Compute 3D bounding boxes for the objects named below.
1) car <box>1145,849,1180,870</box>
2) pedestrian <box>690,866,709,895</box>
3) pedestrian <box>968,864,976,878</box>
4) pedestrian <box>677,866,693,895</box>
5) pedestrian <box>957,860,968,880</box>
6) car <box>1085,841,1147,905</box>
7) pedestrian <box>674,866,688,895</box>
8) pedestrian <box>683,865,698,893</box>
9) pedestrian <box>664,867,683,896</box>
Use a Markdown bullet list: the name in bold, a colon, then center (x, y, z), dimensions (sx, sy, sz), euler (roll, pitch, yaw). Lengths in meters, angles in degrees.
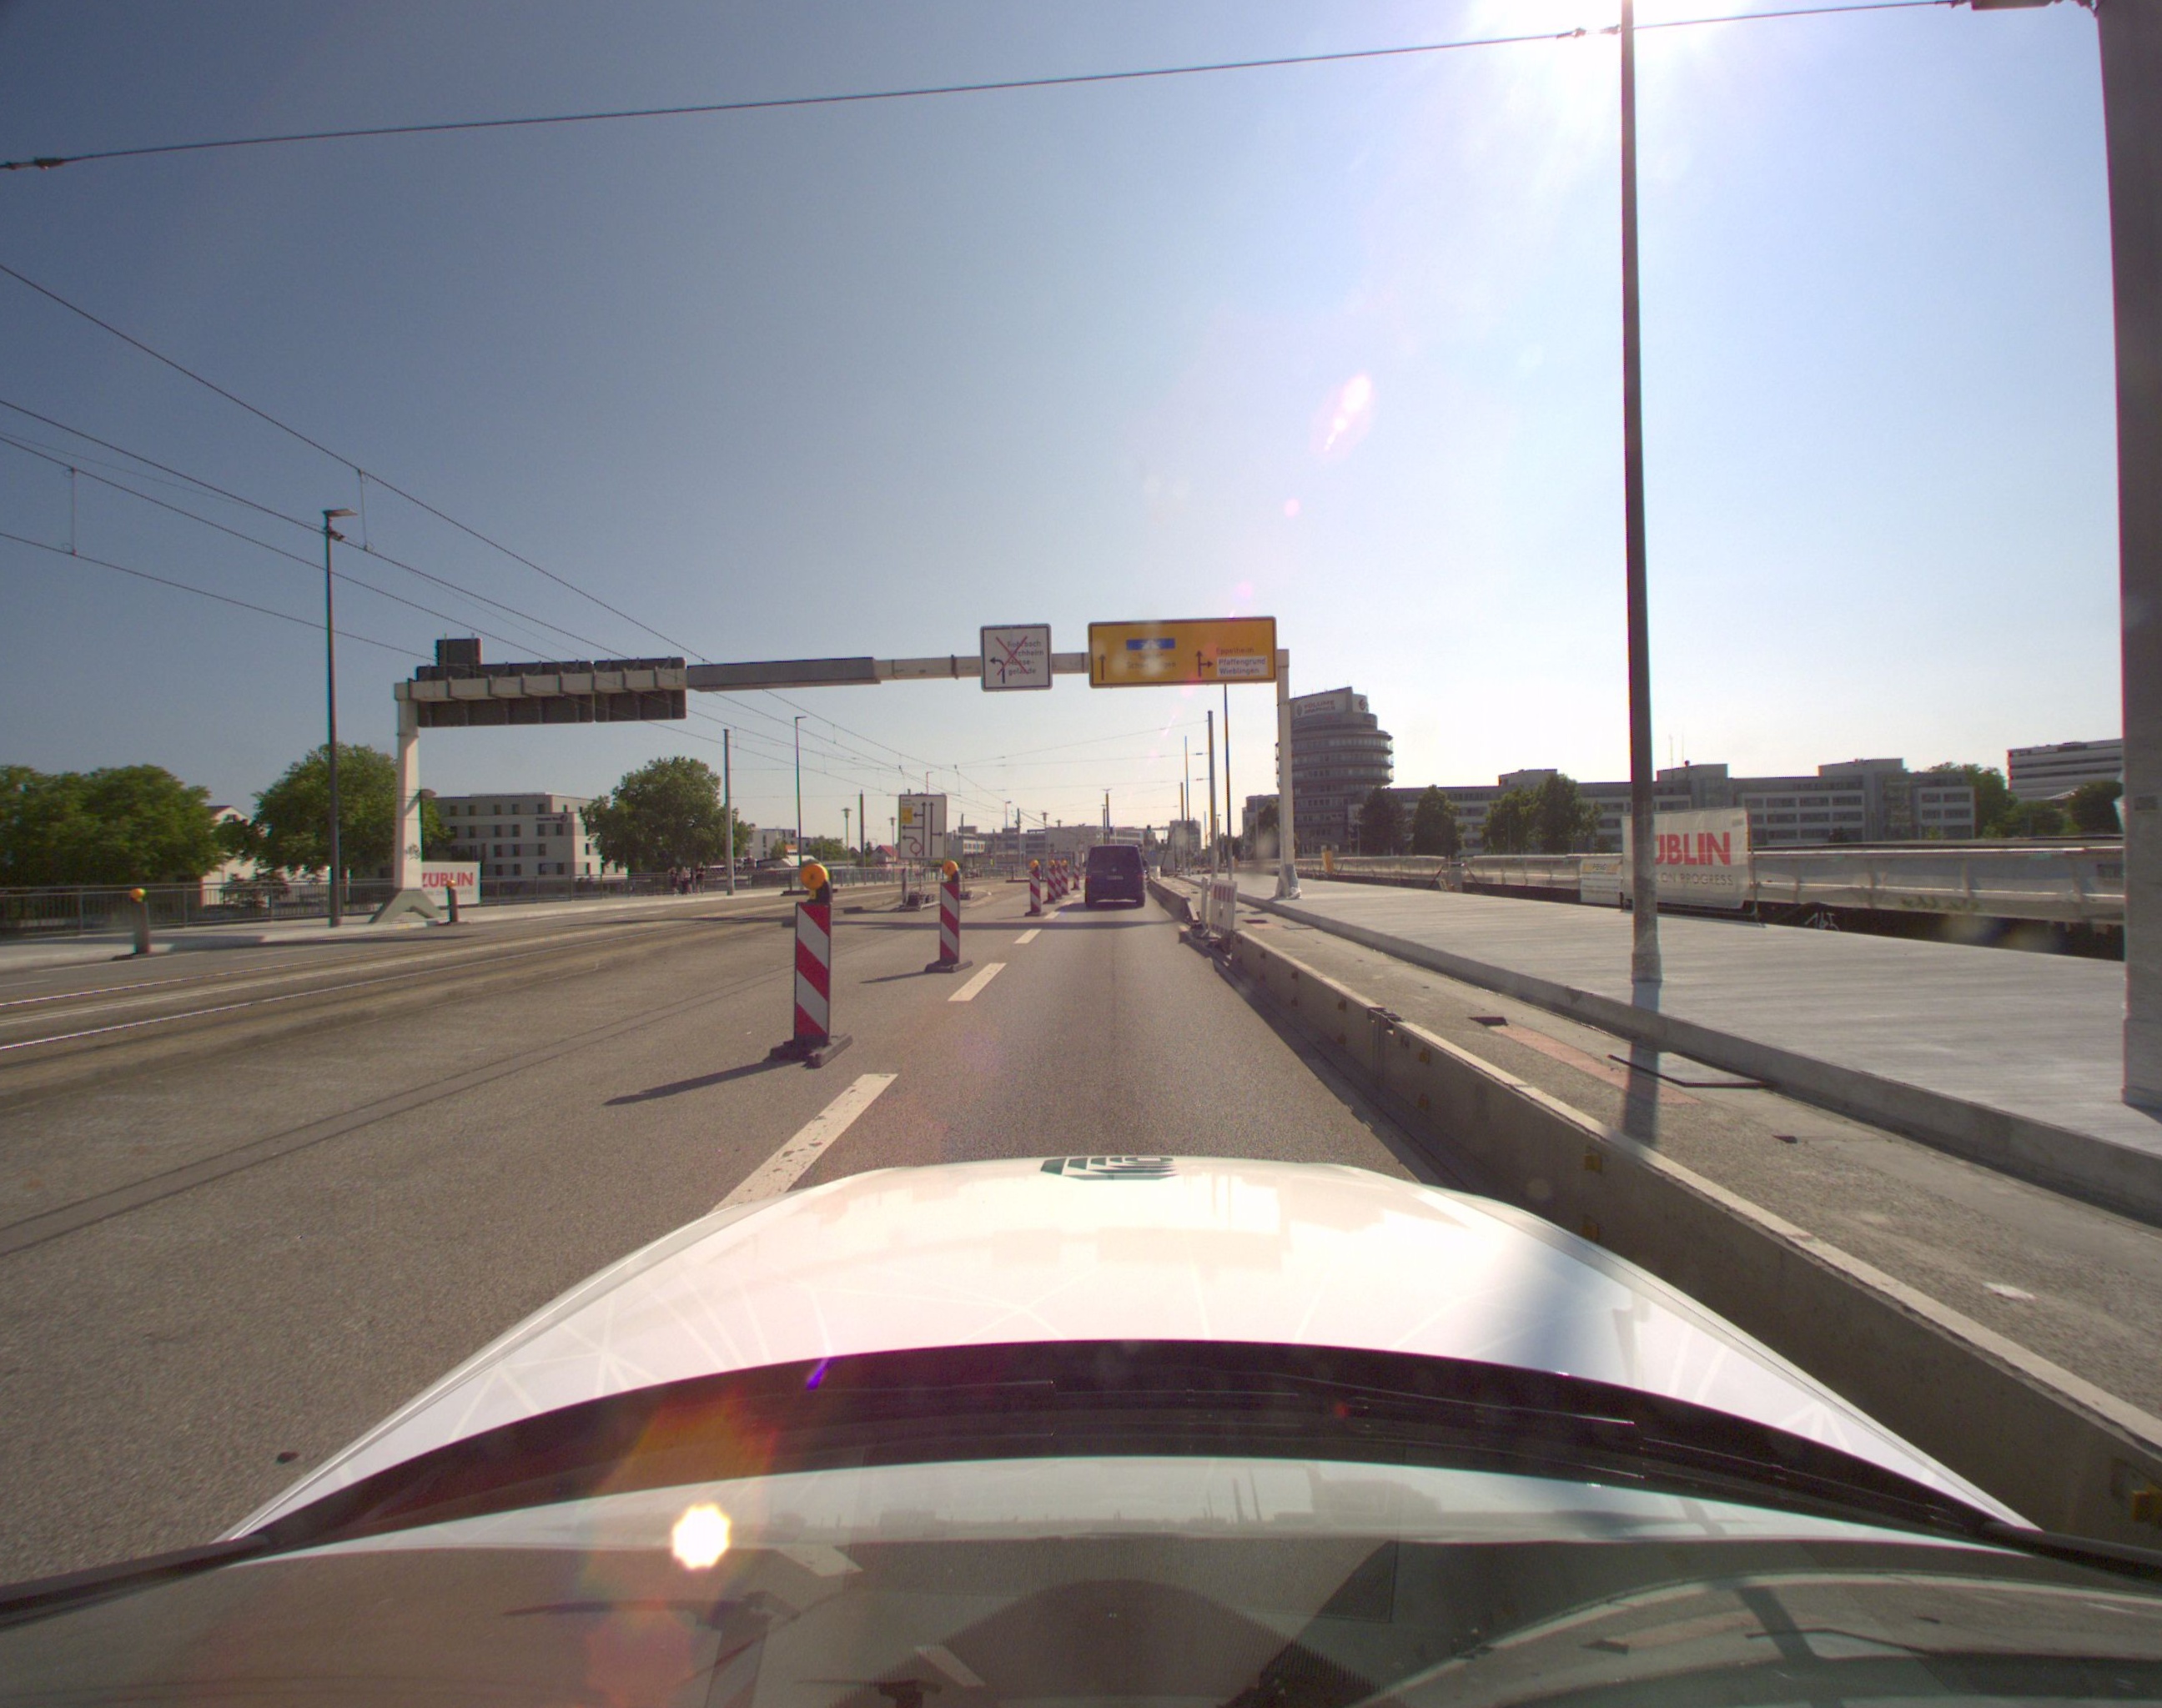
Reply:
- **car**: center (11.632, 0.720, 115.923), dimensions (2.316, 2.887, 6.008), euler (0, 0, 36)
- **pedestrian**: center (-23.217, 1.617, 49.578), dimensions (0.749, 1.687, 0.733), euler (-2, 0, 4)
- **pedestrian**: center (-10.540, 1.627, 78.702), dimensions (0.644, 1.274, 0.454), euler (-1, -1, 7)
- **pedestrian**: center (-23.412, 1.574, 48.130), dimensions (0.484, 1.687, 0.809), euler (-2, 0, 5)
- **pedestrian**: center (-10.457, 1.410, 71.734), dimensions (0.655, 1.654, 0.742), euler (-2, -1, 15)
- **car**: center (1.099, 0.582, 26.572), dimensions (1.881, 1.934, 4.001), euler (0, 0, 1)
- **pedestrian**: center (-23.939, 1.566, 48.781), dimensions (0.381, 1.687, 0.771), euler (-2, 0, 5)
- **pedestrian**: center (-24.269, 1.555, 50.635), dimensions (0.501, 1.687, 0.774), euler (-2, 0, 5)
- **pedestrian**: center (-23.993, 1.627, 47.944), dimensions (0.595, 1.687, 0.819), euler (-2, 0, 5)
